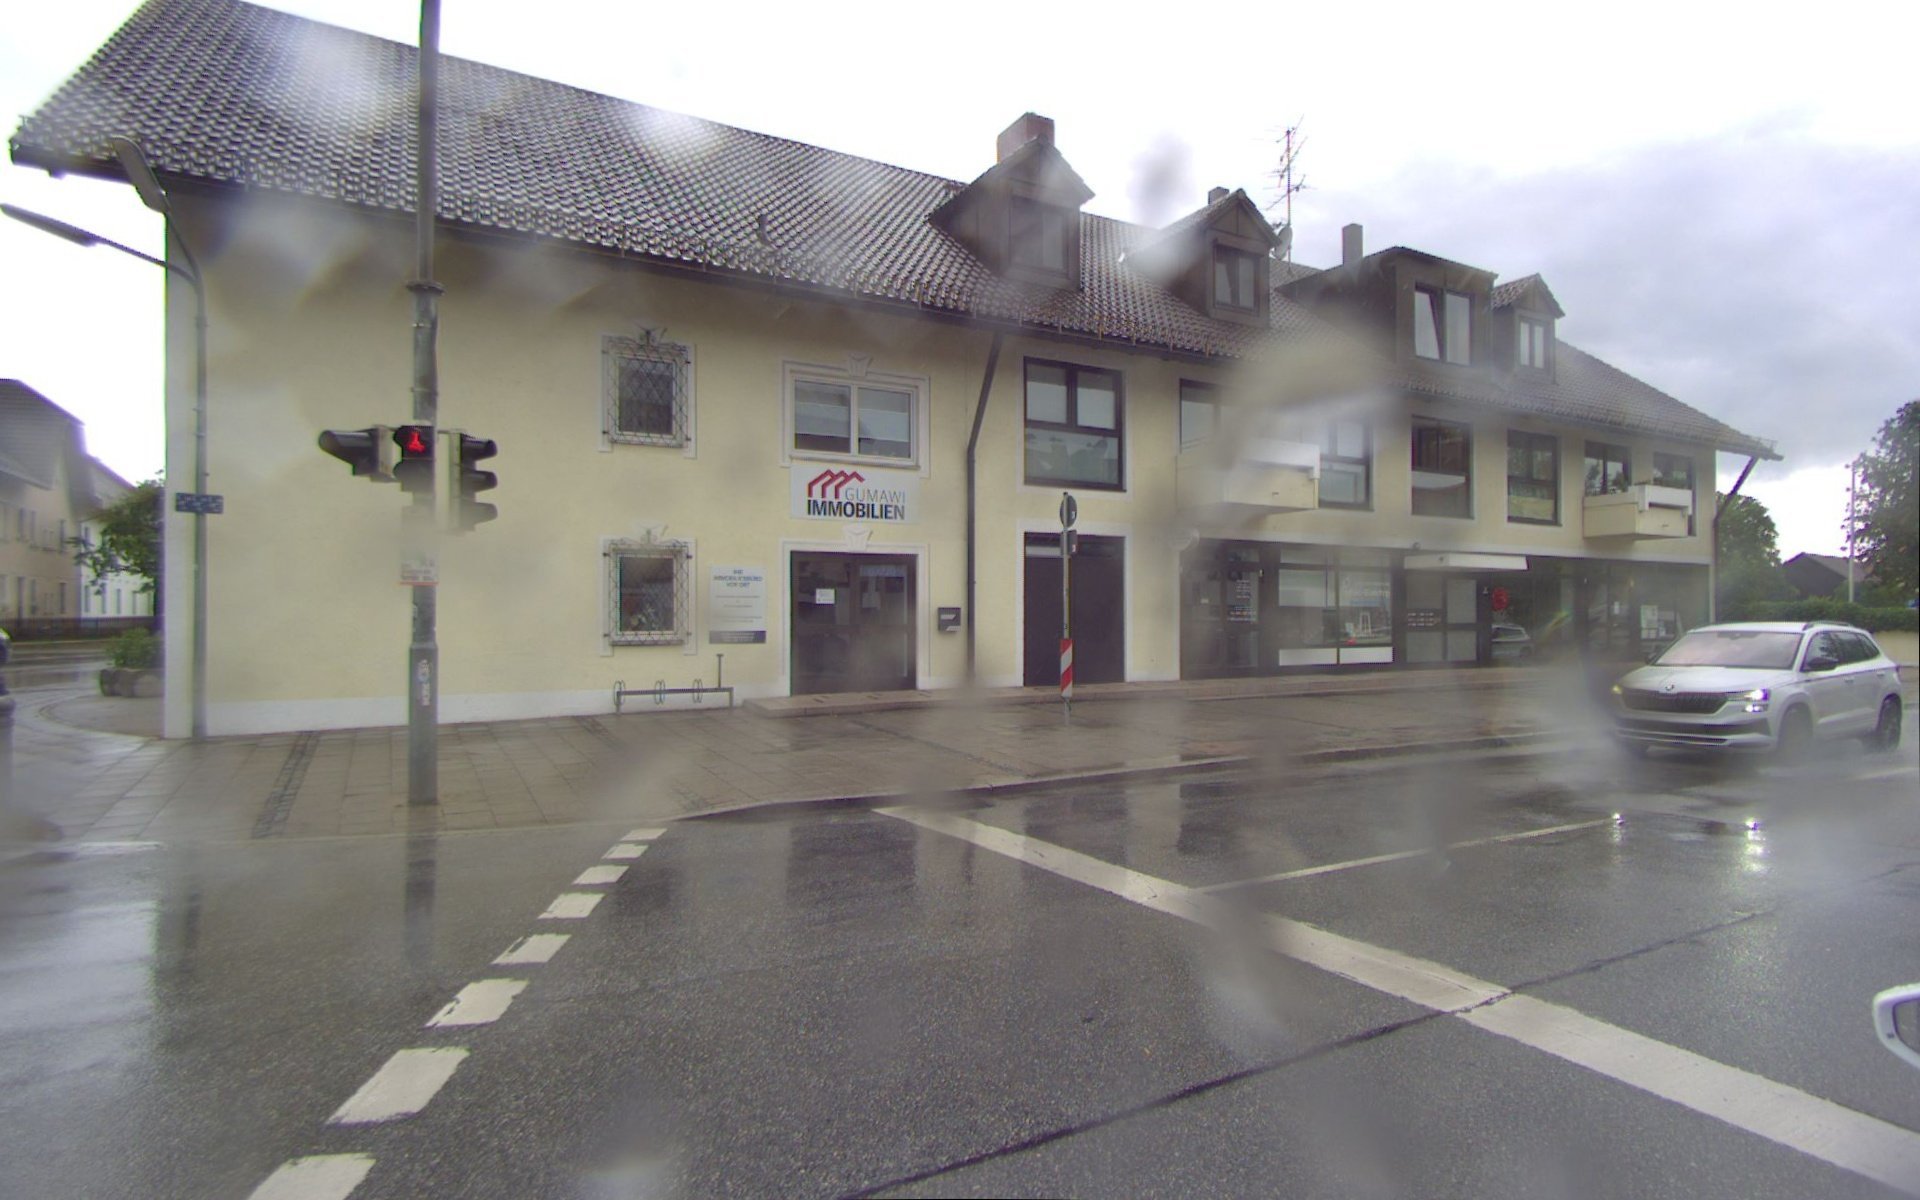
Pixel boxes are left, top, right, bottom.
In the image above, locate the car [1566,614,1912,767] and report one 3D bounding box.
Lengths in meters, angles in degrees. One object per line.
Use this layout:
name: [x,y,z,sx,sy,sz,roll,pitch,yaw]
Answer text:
car: [9.555,1.007,12.284,4.103,1.583,1.958,1,-2,-30]
